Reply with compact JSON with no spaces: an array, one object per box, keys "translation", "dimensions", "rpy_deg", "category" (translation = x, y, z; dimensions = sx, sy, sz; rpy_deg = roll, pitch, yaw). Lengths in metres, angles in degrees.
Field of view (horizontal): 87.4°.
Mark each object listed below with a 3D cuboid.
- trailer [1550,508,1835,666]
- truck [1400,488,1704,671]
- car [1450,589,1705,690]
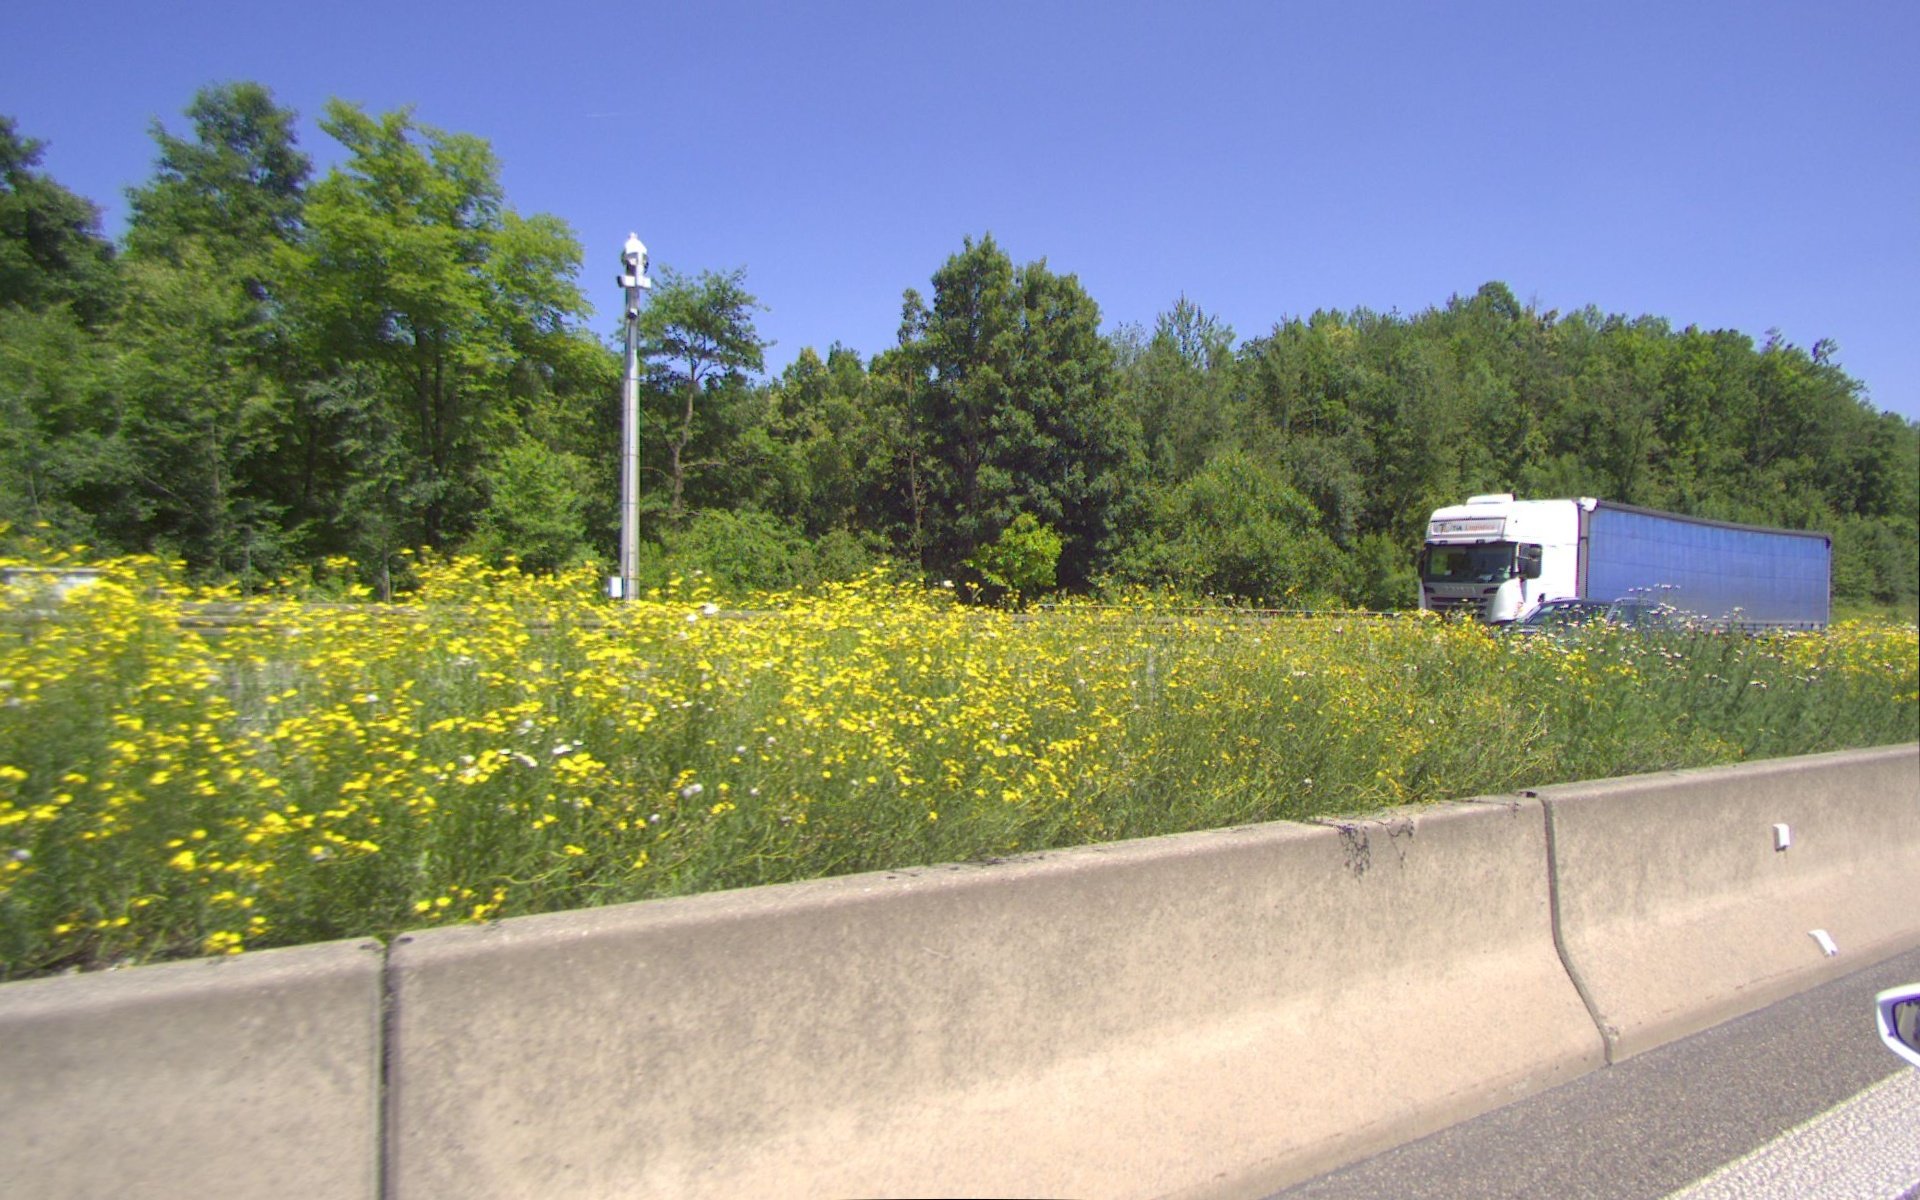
[{"translation":[21.029,-0.251,28.573],"dimensions":[10.052,3.909,2.767],"rpy_deg":[1,1,-31],"category":"trailer"},{"translation":[14.772,-0.387,24.836],"dimensions":[8.315,3.909,2.734],"rpy_deg":[1,1,-31],"category":"truck"},{"translation":[11.133,0.677,18.050],"dimensions":[4.585,1.582,1.984],"rpy_deg":[2,1,-31],"category":"car"}]
